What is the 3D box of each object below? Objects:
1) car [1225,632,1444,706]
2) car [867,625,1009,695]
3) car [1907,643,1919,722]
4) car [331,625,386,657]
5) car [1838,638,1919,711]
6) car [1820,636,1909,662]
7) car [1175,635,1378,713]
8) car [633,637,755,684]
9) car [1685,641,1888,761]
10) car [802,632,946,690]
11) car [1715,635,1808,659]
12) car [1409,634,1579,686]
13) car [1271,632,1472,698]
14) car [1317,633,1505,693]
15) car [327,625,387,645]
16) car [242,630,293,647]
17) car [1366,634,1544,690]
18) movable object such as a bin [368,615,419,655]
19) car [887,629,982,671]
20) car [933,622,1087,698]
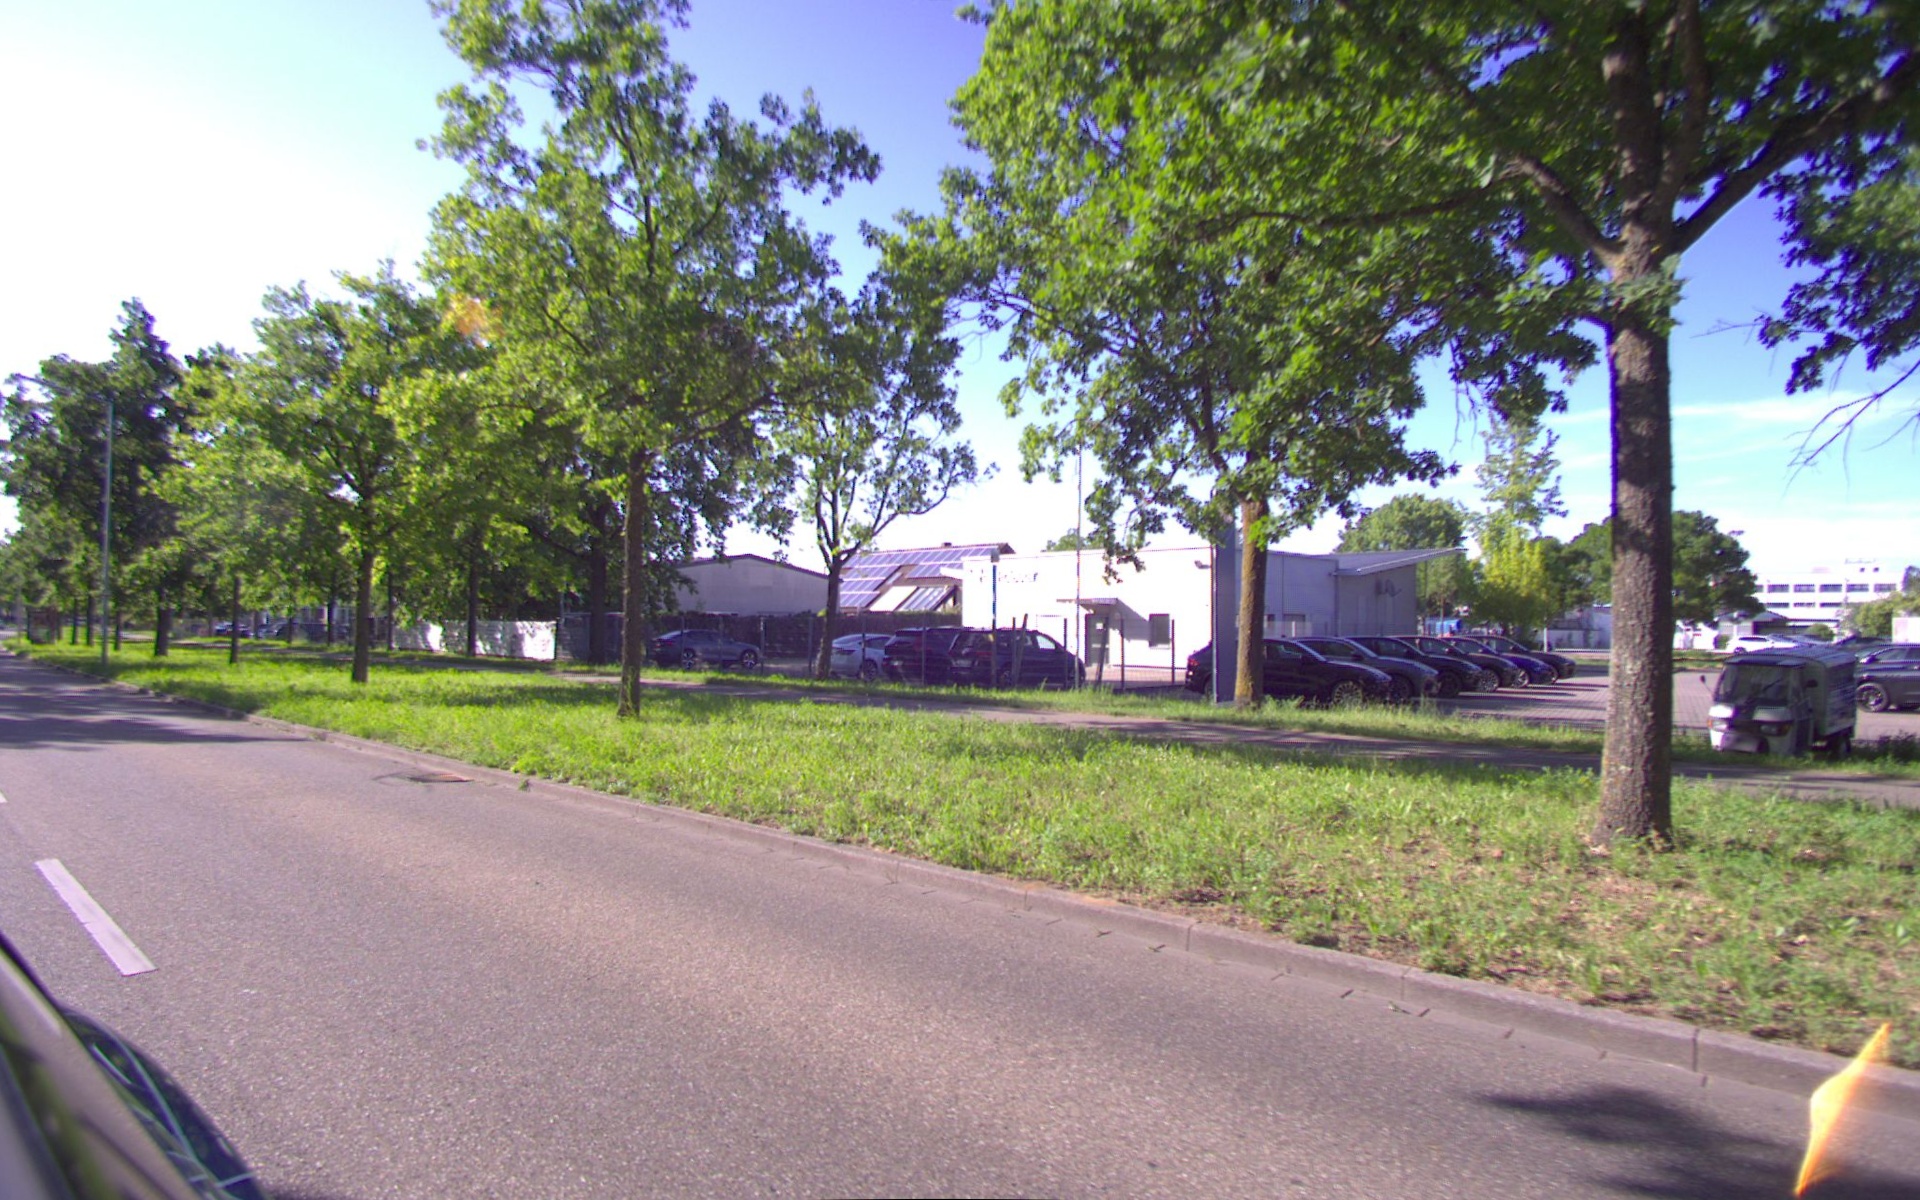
[{"bbox_3d":[9.857,1.755,26.756,5.234,1.730,1.982,-1,0,27],"label":"car"},{"bbox_3d":[-0.582,1.652,29.157,1.862,1.759,3.943,-1,0,44],"label":"car"},{"bbox_3d":[21.754,1.660,19.236,1.967,1.673,5.271,-1,-2,-10],"label":"car"},{"bbox_3d":[-42.752,2.892,71.905,5.674,2.191,1.971,-2,-2,45],"label":"car"},{"bbox_3d":[23.907,1.736,23.429,1.965,1.673,5.026,0,-2,-21],"label":"car"},{"bbox_3d":[62.979,3.392,70.529,1.971,1.673,4.522,0,-2,-45],"label":"car"},{"bbox_3d":[7.678,1.725,24.595,4.475,1.688,1.983,-1,0,26],"label":"car"},{"bbox_3d":[-10.144,2.253,38.768,2.199,1.530,3.943,-1,0,44],"label":"car"},{"bbox_3d":[11.450,1.322,14.015,2.532,1.481,1.429,1,-2,-32],"label":"car"},{"bbox_3d":[-2.588,1.817,31.212,1.862,1.530,4.263,-1,0,44],"label":"car"},{"bbox_3d":[61.790,3.589,78.071,1.971,1.673,5.435,0,-2,-45],"label":"car"},{"bbox_3d":[19.006,2.079,36.224,5.237,1.673,1.980,-1,0,29],"label":"car"},{"bbox_3d":[11.925,1.808,29.431,5.237,1.702,1.980,-1,0,29],"label":"car"},{"bbox_3d":[14.135,1.930,31.819,5.237,1.673,1.980,-1,0,29],"label":"car"},{"bbox_3d":[-61.082,3.536,102.581,4.963,1.851,2.007,-1,0,-23],"label":"car"},{"bbox_3d":[-67.654,3.731,98.925,3.826,1.513,2.007,-1,0,-25],"label":"car"},{"bbox_3d":[16.598,2.035,34.088,5.237,1.673,1.980,-1,0,29],"label":"car"},{"bbox_3d":[-38.273,2.322,68.346,1.970,2.535,4.239,-1,0,-44],"label":"movable object such as a bin"},{"bbox_3d":[-1.036,2.061,42.569,1.752,1.530,3.943,-1,0,44],"label":"car"},{"bbox_3d":[1.388,1.529,27.014,2.001,1.755,3.942,-1,0,44],"label":"car"}]
